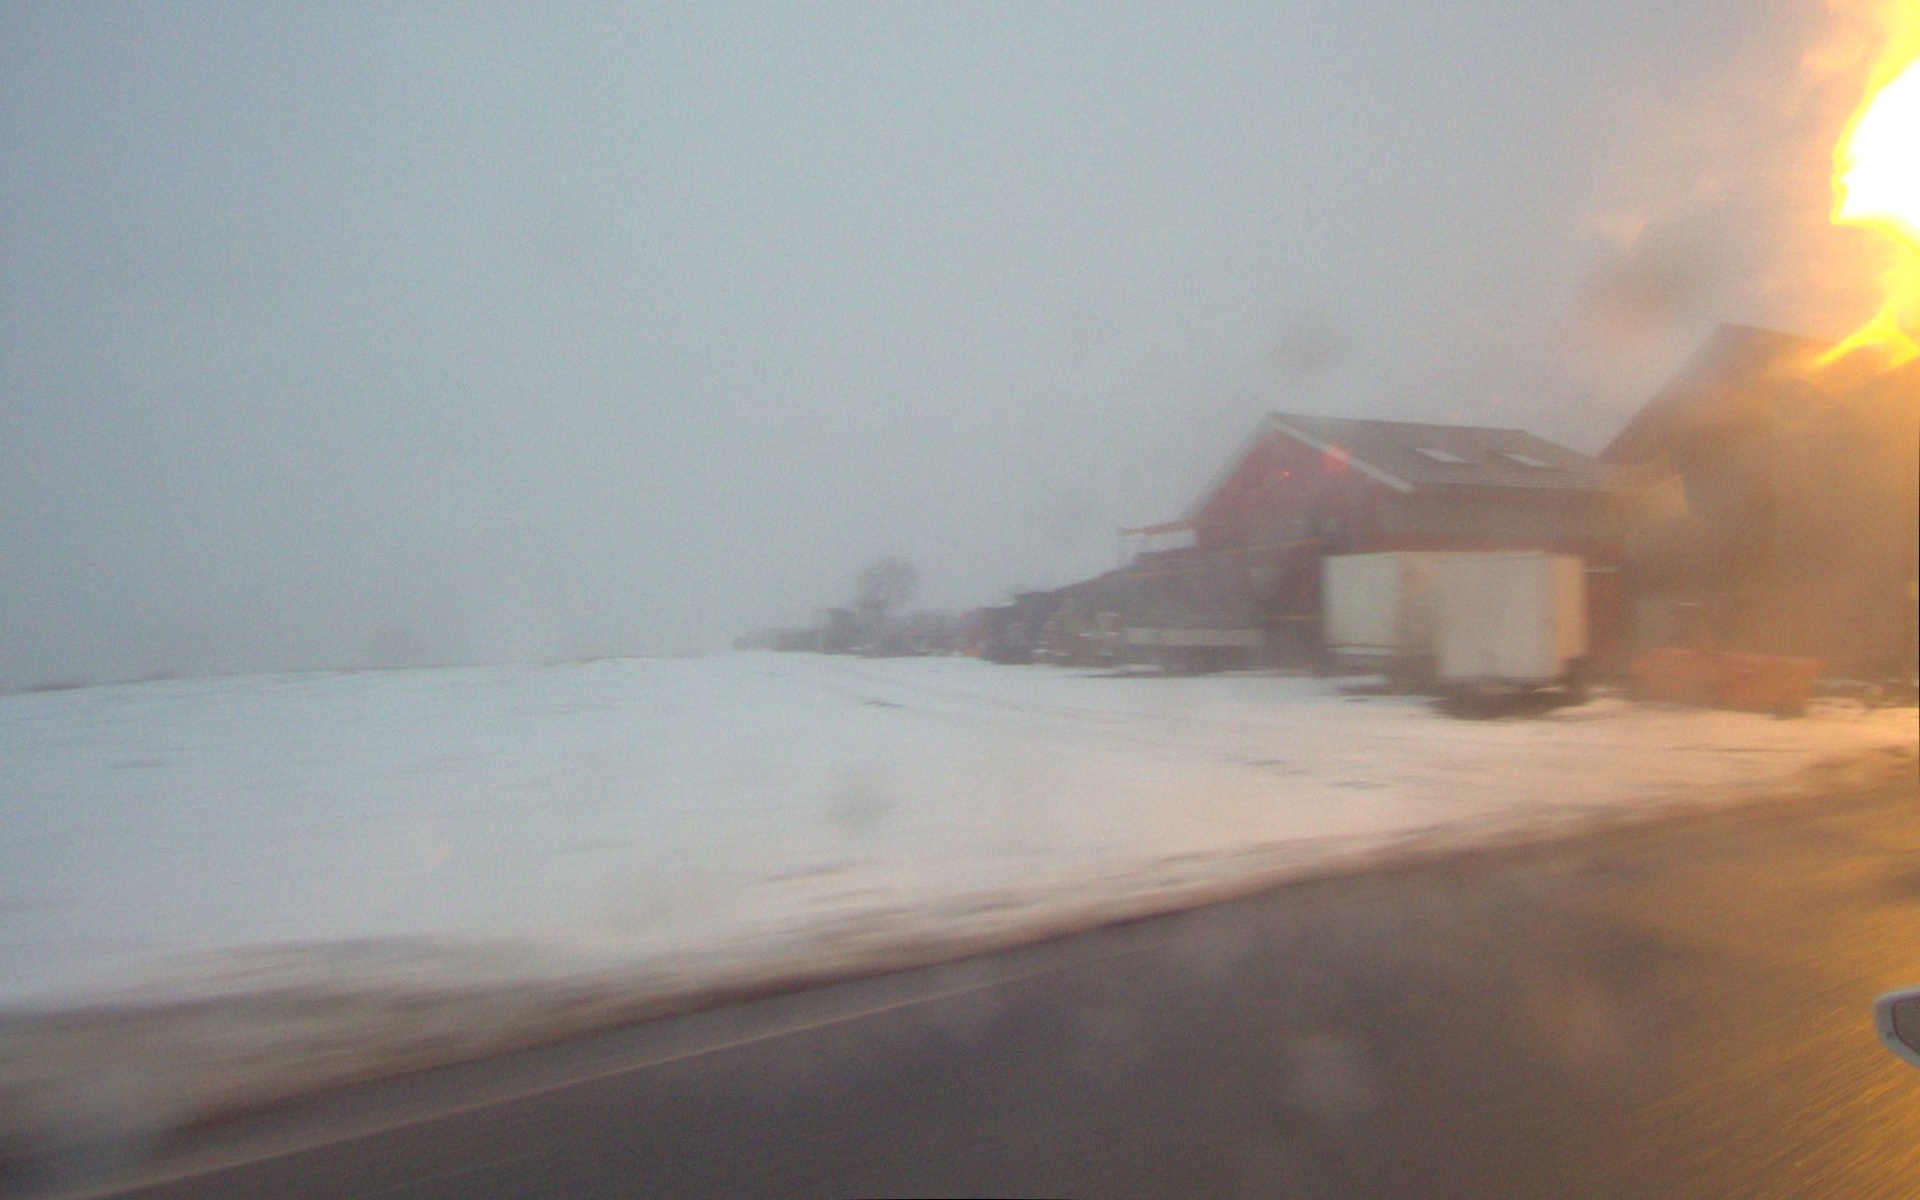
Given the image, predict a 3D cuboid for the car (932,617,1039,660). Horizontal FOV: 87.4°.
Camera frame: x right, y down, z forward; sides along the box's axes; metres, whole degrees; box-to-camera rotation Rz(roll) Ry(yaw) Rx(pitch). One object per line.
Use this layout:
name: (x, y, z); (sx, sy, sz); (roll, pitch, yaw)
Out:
car: (1.062, 1.580, 41.443); (3.942, 1.683, 1.990); (0, -2, -23)

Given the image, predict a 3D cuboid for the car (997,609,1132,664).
car: (3.433, 1.183, 32.965); (3.944, 1.683, 1.989); (0, -2, -24)

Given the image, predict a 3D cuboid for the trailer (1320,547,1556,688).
trailer: (9.329, 0.347, 19.648); (3.952, 2.522, 1.990); (0, -2, -22)

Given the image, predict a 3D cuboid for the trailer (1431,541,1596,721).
trailer: (9.199, 0.510, 16.583); (1.670, 2.639, 3.428); (-3, -3, 40)

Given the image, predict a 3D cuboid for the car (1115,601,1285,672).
car: (6.350, 0.959, 26.696); (3.939, 1.739, 1.991); (0, -2, -20)

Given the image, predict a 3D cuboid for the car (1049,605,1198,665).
car: (4.861, 1.029, 29.939); (3.945, 1.683, 1.989); (0, -2, -25)
